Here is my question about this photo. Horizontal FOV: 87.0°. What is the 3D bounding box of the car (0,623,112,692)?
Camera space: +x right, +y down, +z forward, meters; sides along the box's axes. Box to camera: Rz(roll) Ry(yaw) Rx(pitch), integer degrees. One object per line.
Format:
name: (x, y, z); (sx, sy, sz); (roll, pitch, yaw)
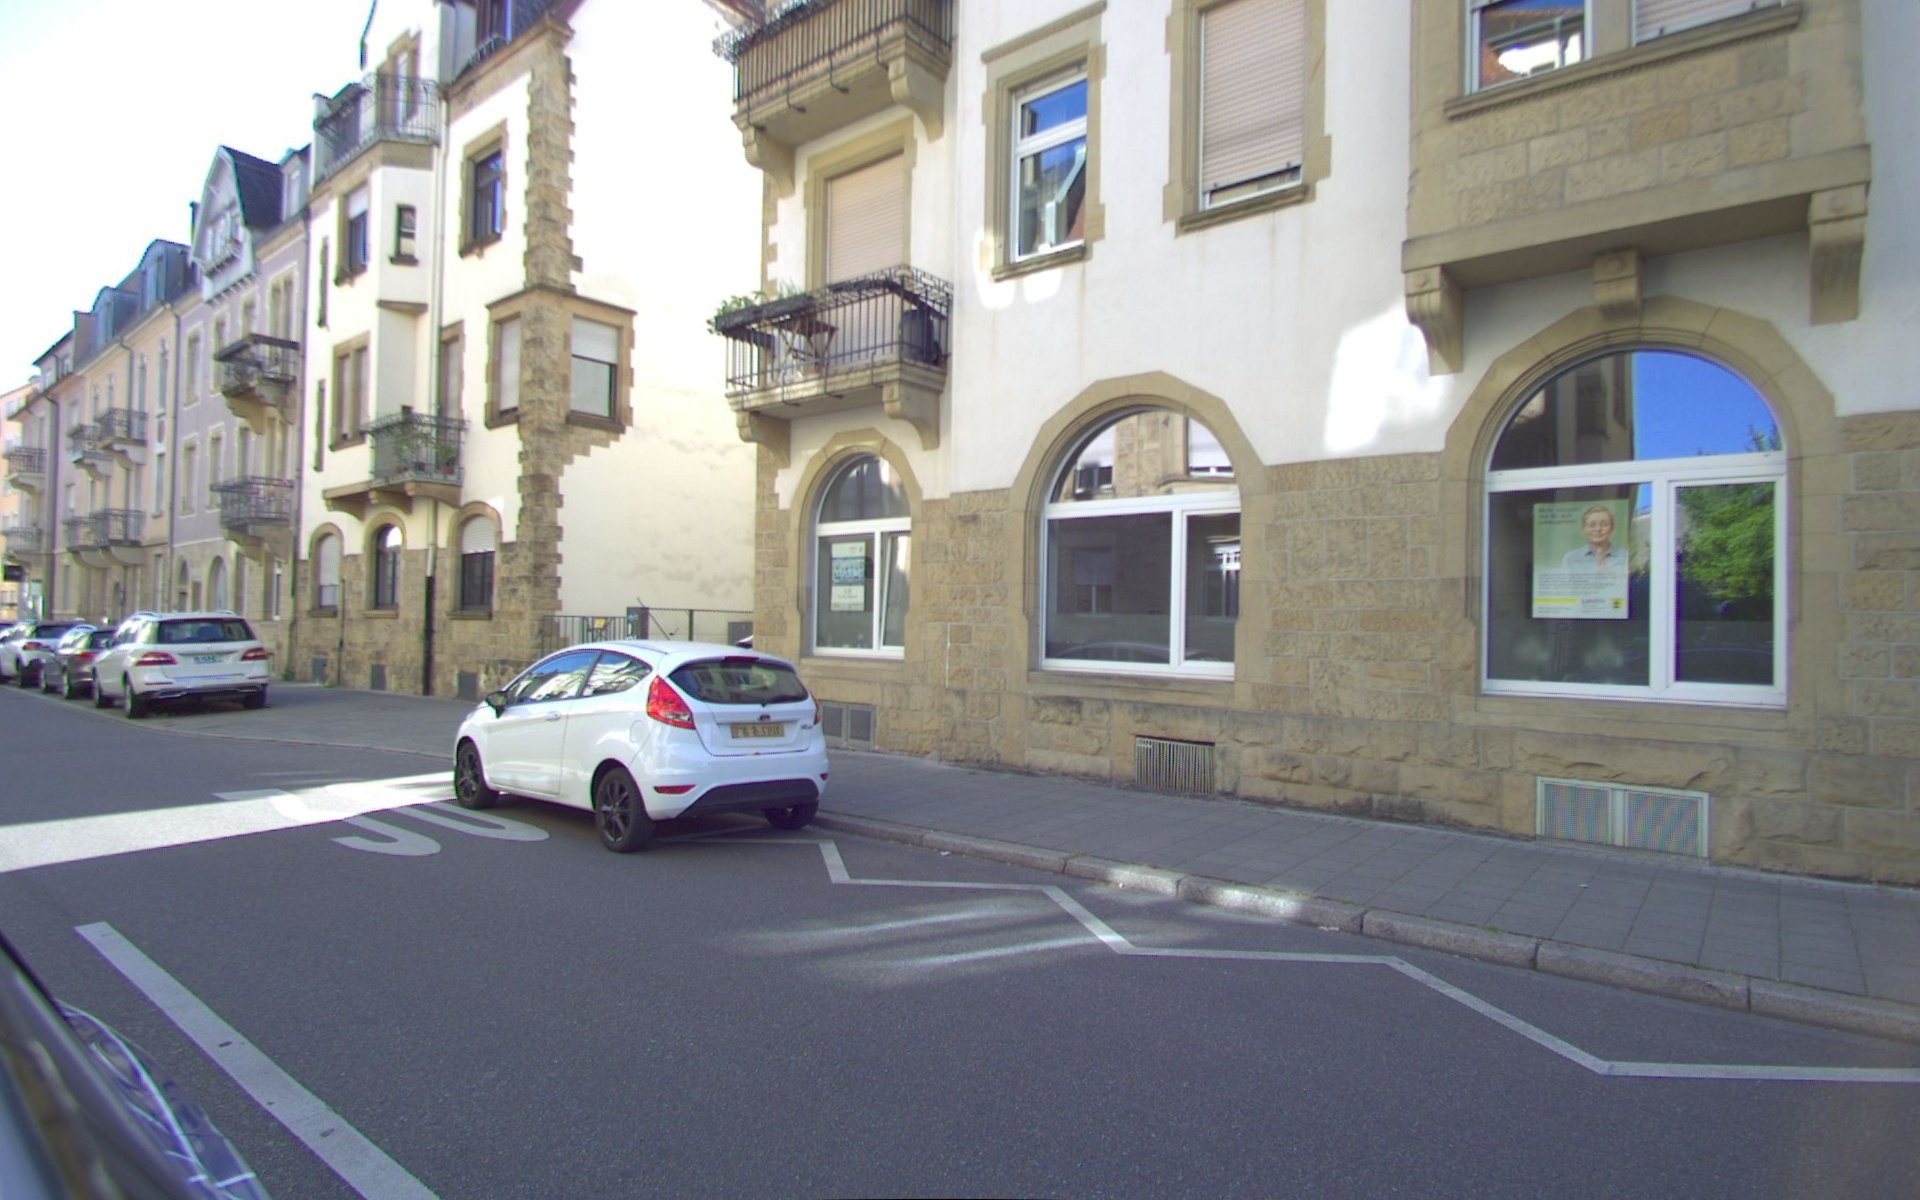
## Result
car: (-22.954, 1.380, 25.436); (4.319, 1.520, 1.866); (-1, 0, 41)

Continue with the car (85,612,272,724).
car: (-13.994, 1.097, 18.032); (4.209, 1.740, 1.866); (-1, 0, 41)

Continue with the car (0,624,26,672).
car: (-33.147, 1.604, 34.223); (4.319, 1.520, 1.866); (-1, 0, 41)

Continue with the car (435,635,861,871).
car: (-2.643, 1.043, 8.182); (3.642, 1.469, 1.634); (-2, -5, 42)

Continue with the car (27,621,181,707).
car: (-18.451, 1.288, 21.755); (4.319, 1.519, 1.866); (-1, 2, 41)

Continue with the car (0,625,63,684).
car: (-27.163, 1.514, 28.876); (4.317, 1.511, 1.833); (-1, 0, 41)
